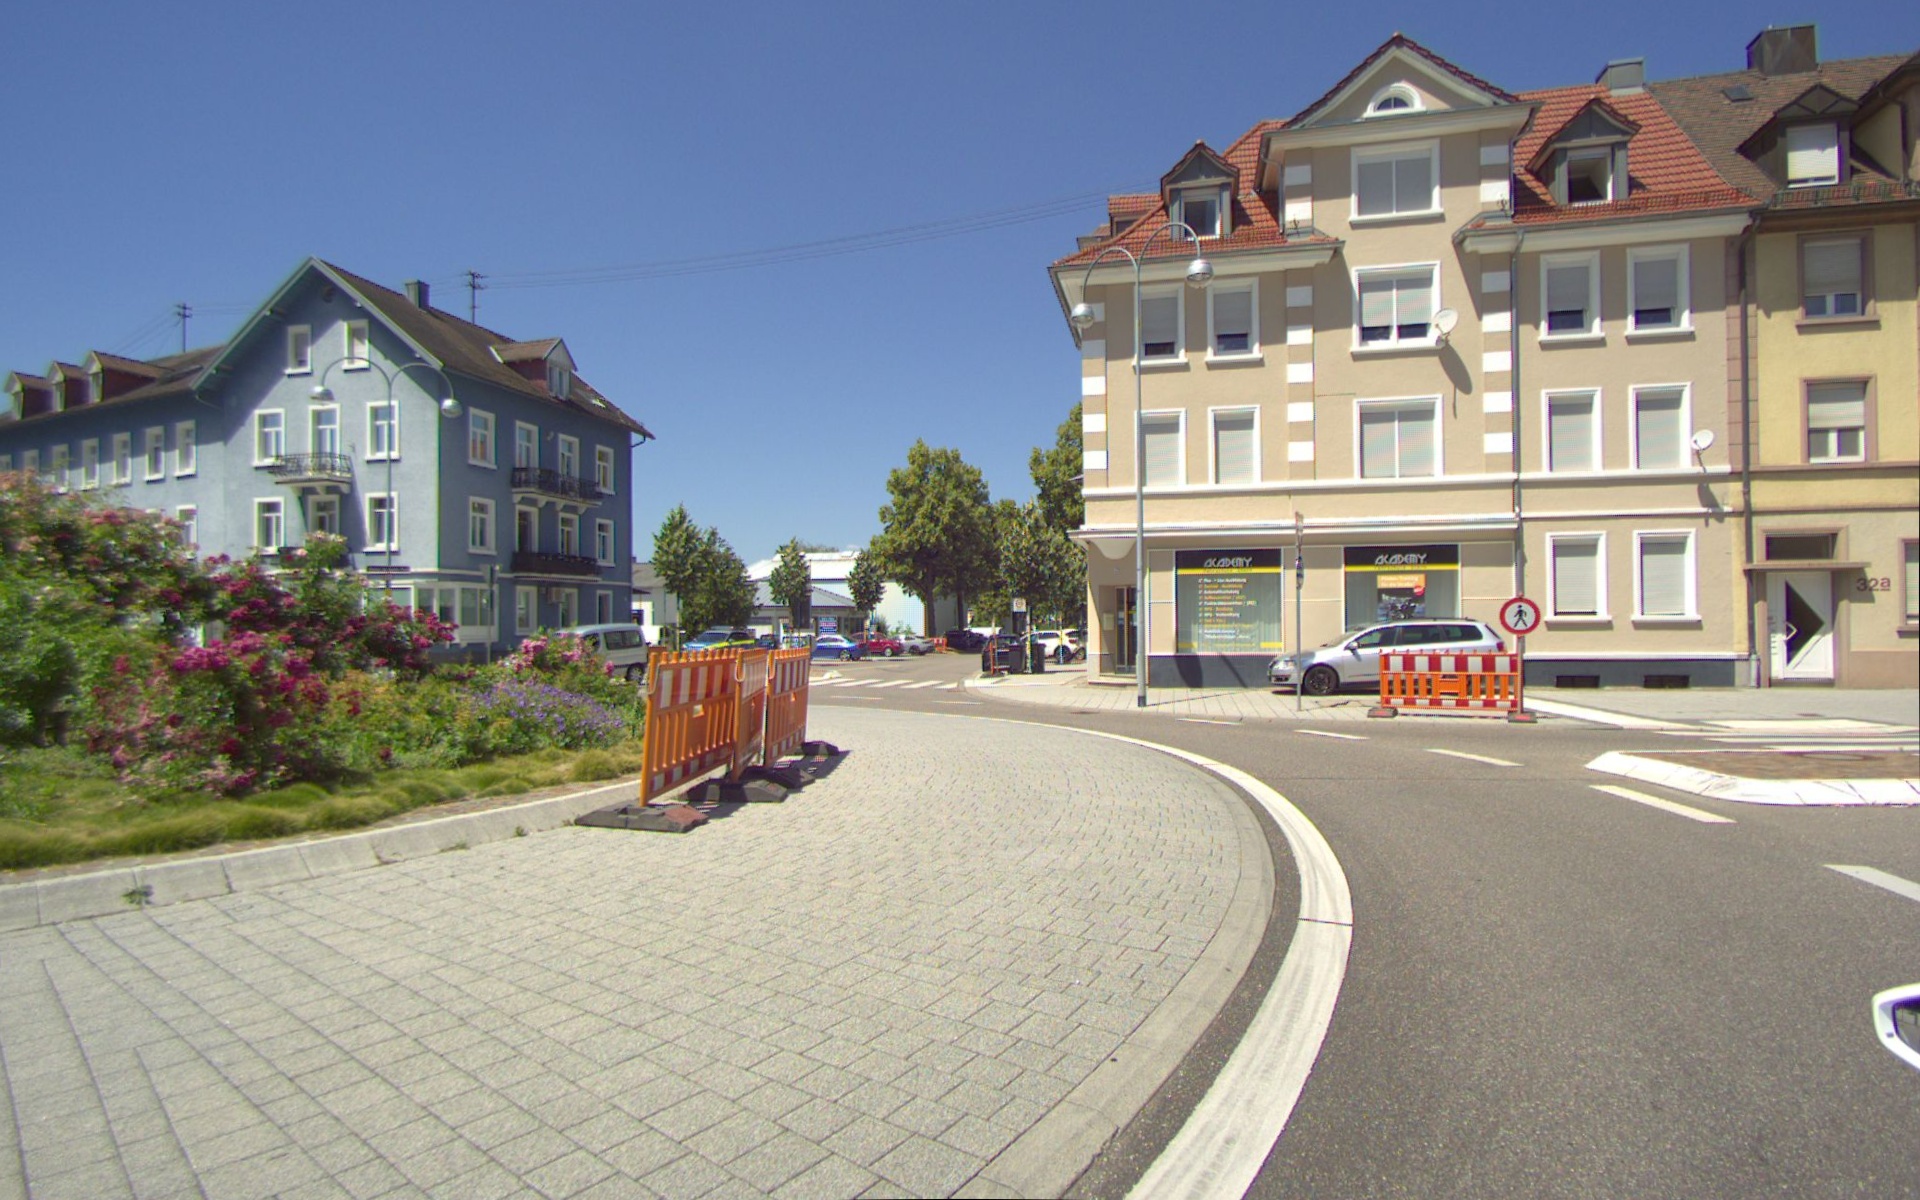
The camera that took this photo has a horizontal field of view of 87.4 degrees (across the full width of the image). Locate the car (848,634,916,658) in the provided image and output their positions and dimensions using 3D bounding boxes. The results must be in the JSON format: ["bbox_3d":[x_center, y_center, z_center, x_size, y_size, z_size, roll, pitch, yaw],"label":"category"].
[{"bbox_3d":[-5.005,2.957,64.497,3.919,1.483,2.001,-1,-3,15],"label":"car"}]

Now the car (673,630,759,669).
[{"bbox_3d":[-10.510,2.129,43.601,1.624,1.590,4.505,-1,-2,16],"label":"car"}]

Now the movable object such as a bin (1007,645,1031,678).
[{"bbox_3d":[2.103,2.173,35.732,0.783,1.164,0.817,0,-2,5],"label":"movable object such as a bin"}]

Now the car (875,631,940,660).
[{"bbox_3d":[-3.462,3.028,66.647,3.919,1.850,2.002,-1,-2,13],"label":"car"}]

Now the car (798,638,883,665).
[{"bbox_3d":[-6.455,2.798,54.434,4.195,1.416,2.002,-1,-2,9],"label":"car"}]

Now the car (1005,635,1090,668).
[{"bbox_3d":[4.544,2.658,51.935,4.195,1.647,2.002,-1,-2,11],"label":"car"}]

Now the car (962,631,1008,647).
[{"bbox_3d":[2.273,3.567,91.637,3.919,1.483,2.002,0,-2,10],"label":"car"}]

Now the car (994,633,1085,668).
[{"bbox_3d":[3.909,2.468,49.129,4.195,1.647,2.002,-1,-2,11],"label":"car"}]

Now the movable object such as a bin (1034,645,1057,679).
[{"bbox_3d":[3.038,2.201,35.707,0.783,1.164,0.817,0,-2,5],"label":"movable object such as a bin"}]

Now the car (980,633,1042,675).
[{"bbox_3d":[2.100,2.145,40.403,1.959,1.599,4.003,-1,-2,11],"label":"car"}]

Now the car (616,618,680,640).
[{"bbox_3d":[-22.328,2.088,71.901,3.919,1.483,2.001,-1,-3,15],"label":"car"}]

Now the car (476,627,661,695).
[{"bbox_3d":[-11.029,1.671,28.575,1.969,1.760,4.549,-2,-3,37],"label":"car"}]

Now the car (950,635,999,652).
[{"bbox_3d":[1.232,3.734,86.001,3.919,1.483,2.002,0,-2,10],"label":"car"}]

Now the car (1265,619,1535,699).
[{"bbox_3d":[8.966,1.215,20.896,4.846,1.523,1.801,-2,-1,12],"label":"car"}]
